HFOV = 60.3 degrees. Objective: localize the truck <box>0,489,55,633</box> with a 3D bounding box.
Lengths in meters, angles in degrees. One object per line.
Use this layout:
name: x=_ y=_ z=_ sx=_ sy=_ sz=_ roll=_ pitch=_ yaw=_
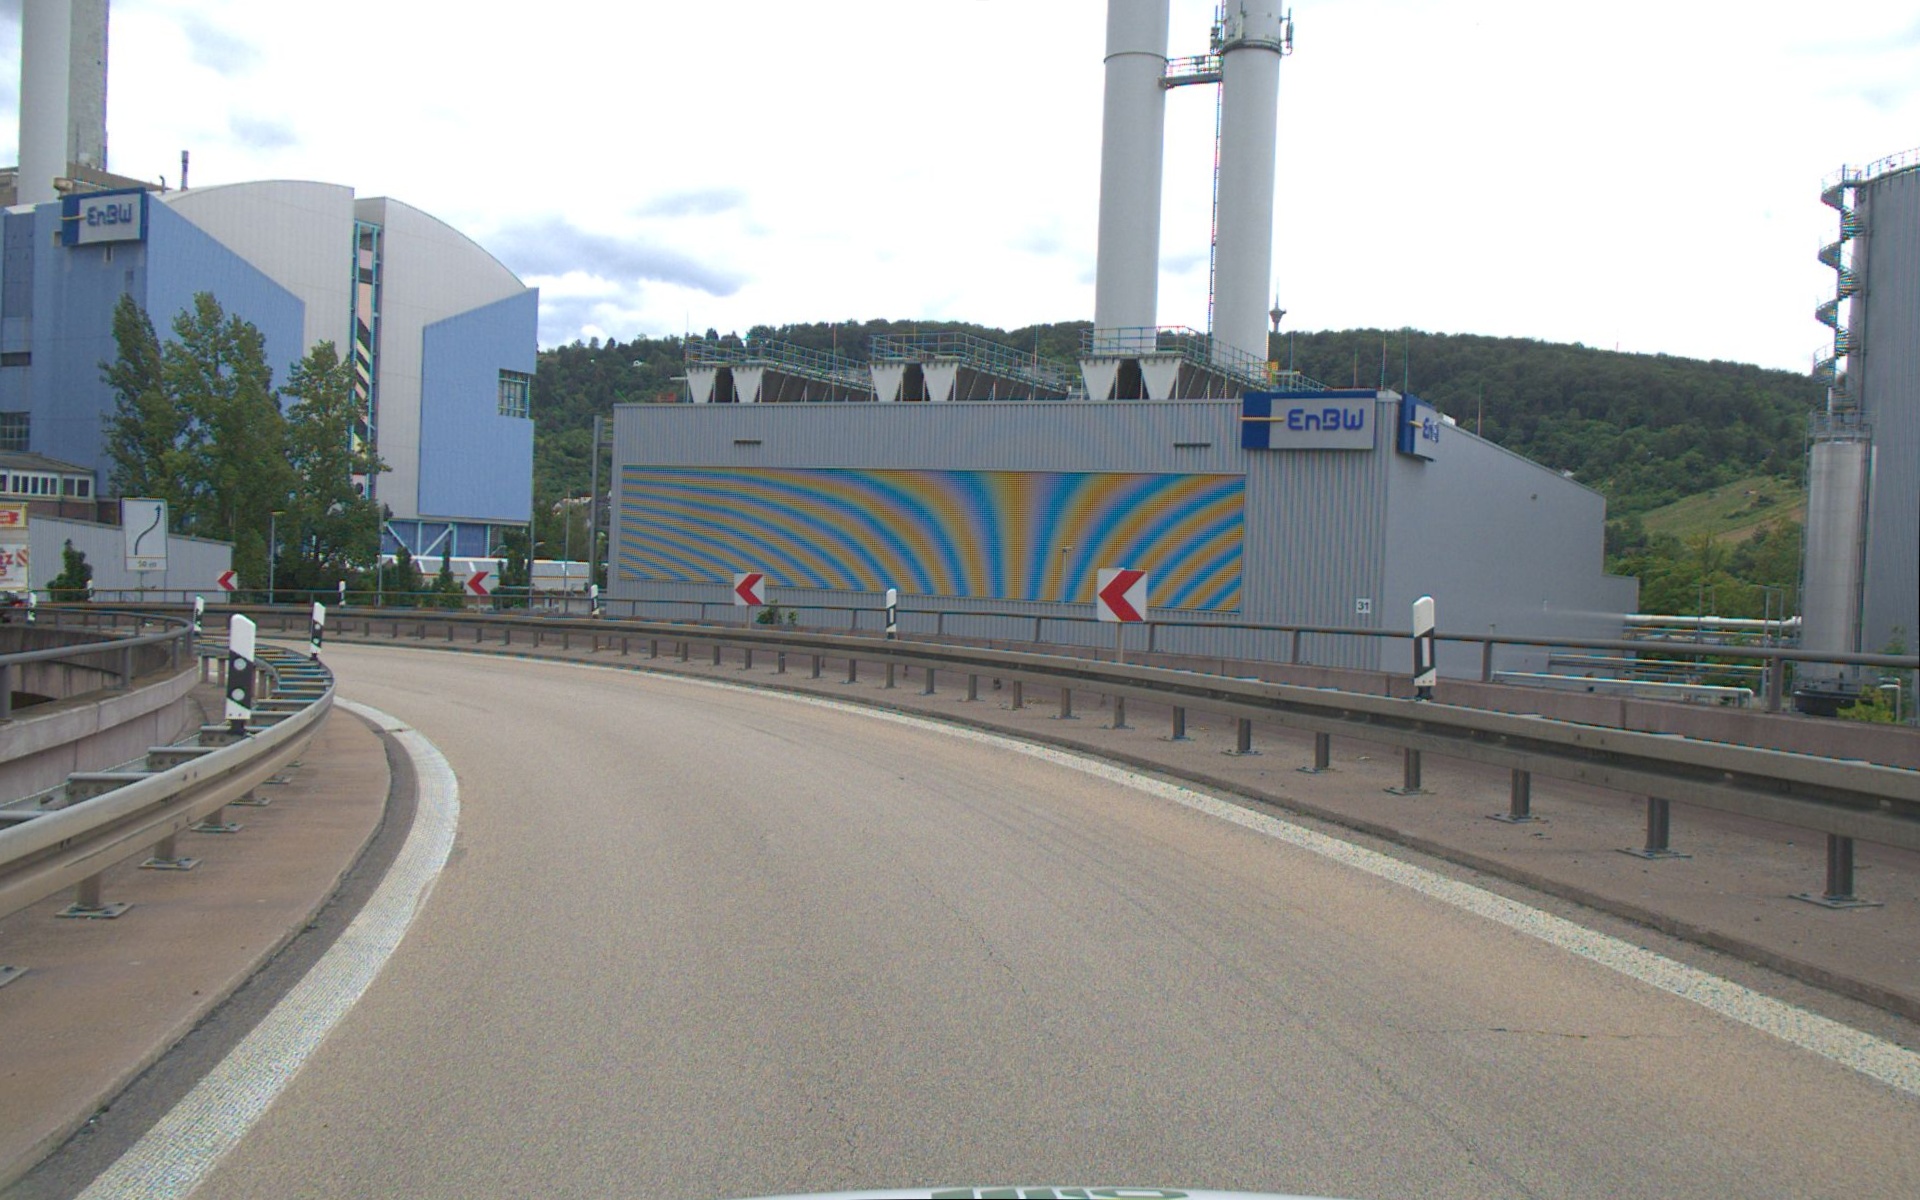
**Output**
truck: x=-28.347 y=-1.110 z=44.689 sx=7.751 sy=3.737 sz=3.056 roll=2 pitch=0 yaw=28
